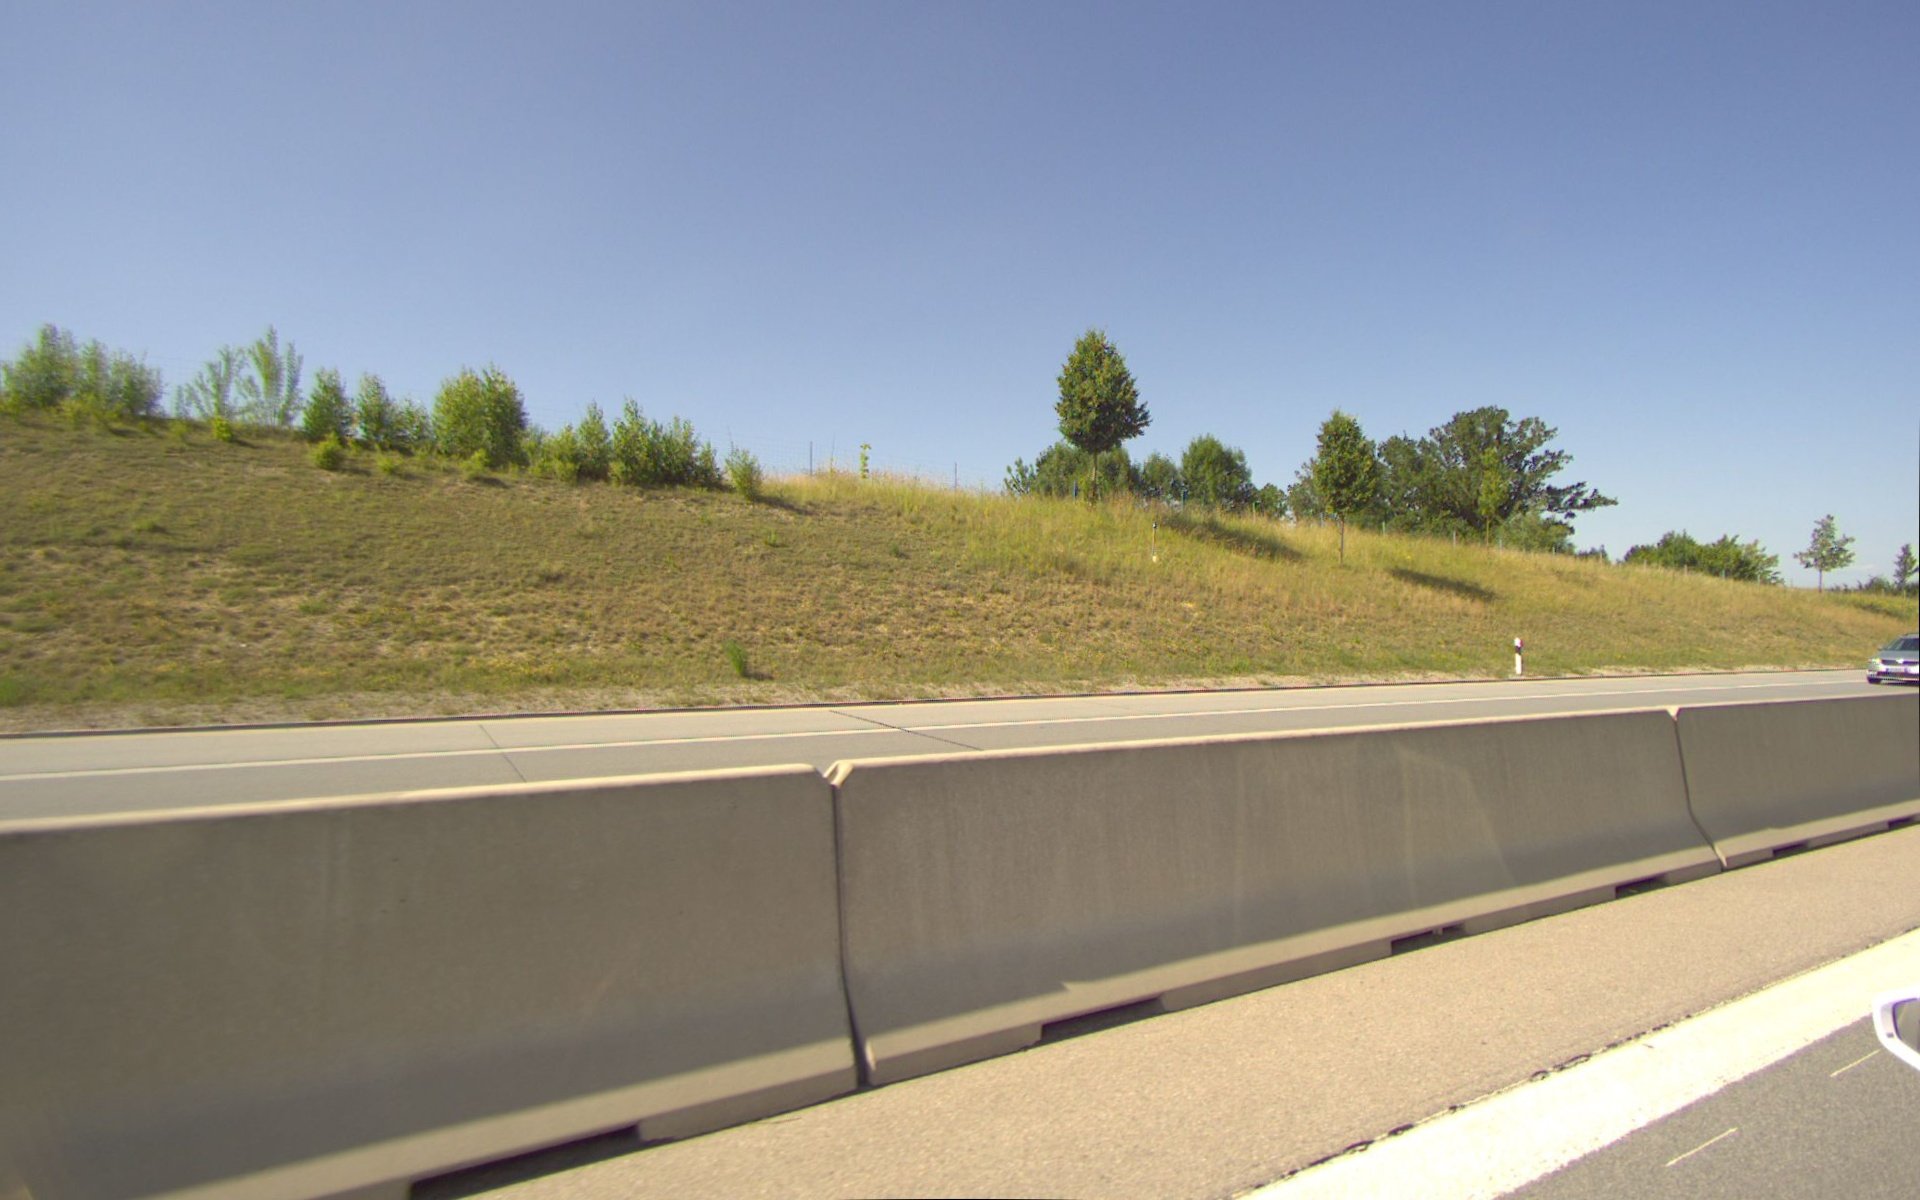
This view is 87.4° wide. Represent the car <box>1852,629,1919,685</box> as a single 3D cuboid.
[{"bbox_3d":[27.912,1.622,29.113,4.474,1.490,1.795,1,-1,-31],"label":"car"}]
